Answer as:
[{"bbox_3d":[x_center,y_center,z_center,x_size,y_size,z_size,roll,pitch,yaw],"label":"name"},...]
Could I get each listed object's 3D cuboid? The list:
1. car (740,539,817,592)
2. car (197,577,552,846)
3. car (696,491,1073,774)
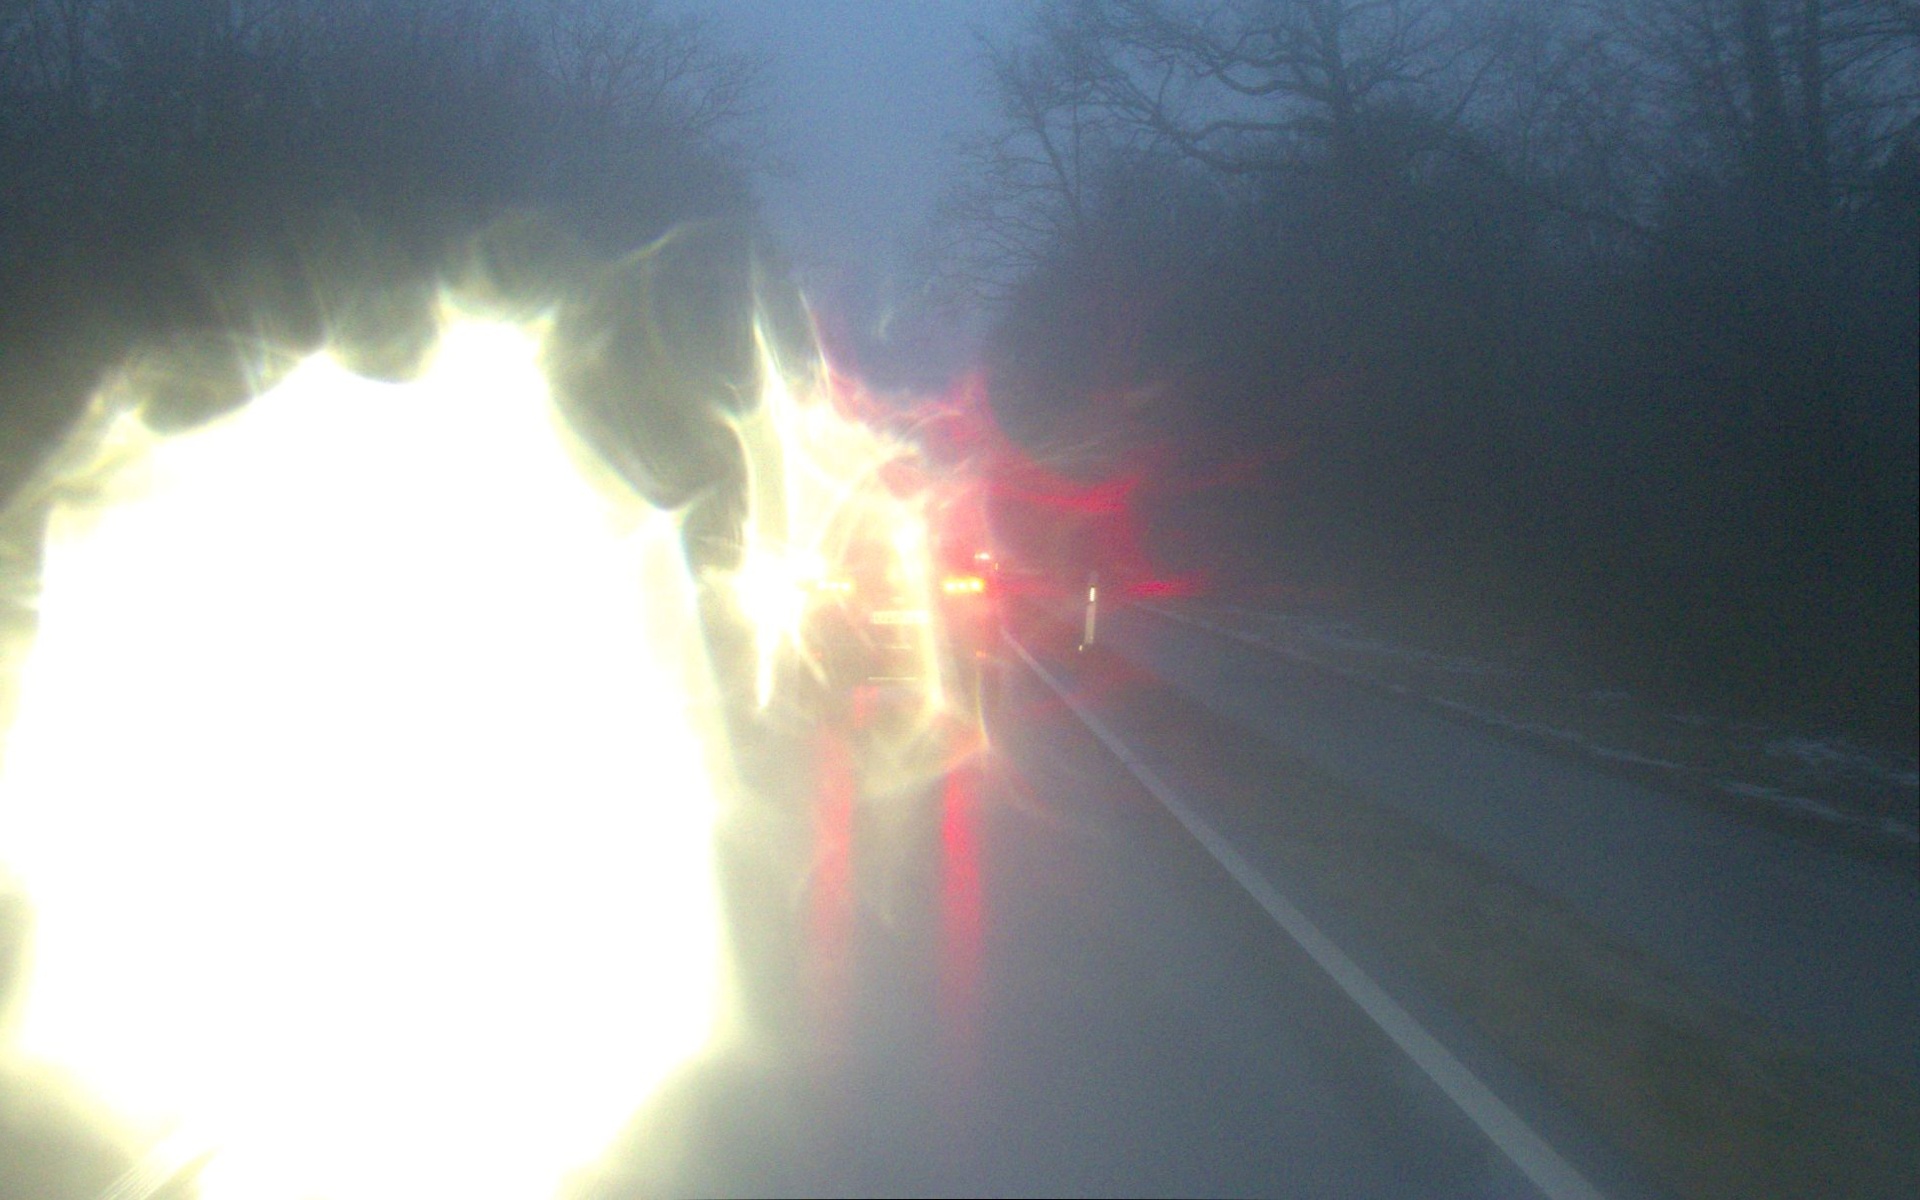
[{"bbox_3d":[-5.592,-1.090,106.474,1.975,1.562,4.927,-1,1,2],"label":"car"},{"bbox_3d":[-4.266,0.746,25.782,1.822,1.643,4.750,-2,2,0],"label":"car"},{"bbox_3d":[-0.624,0.238,32.582,3.183,2.378,6.636,1,1,0],"label":"car"}]
